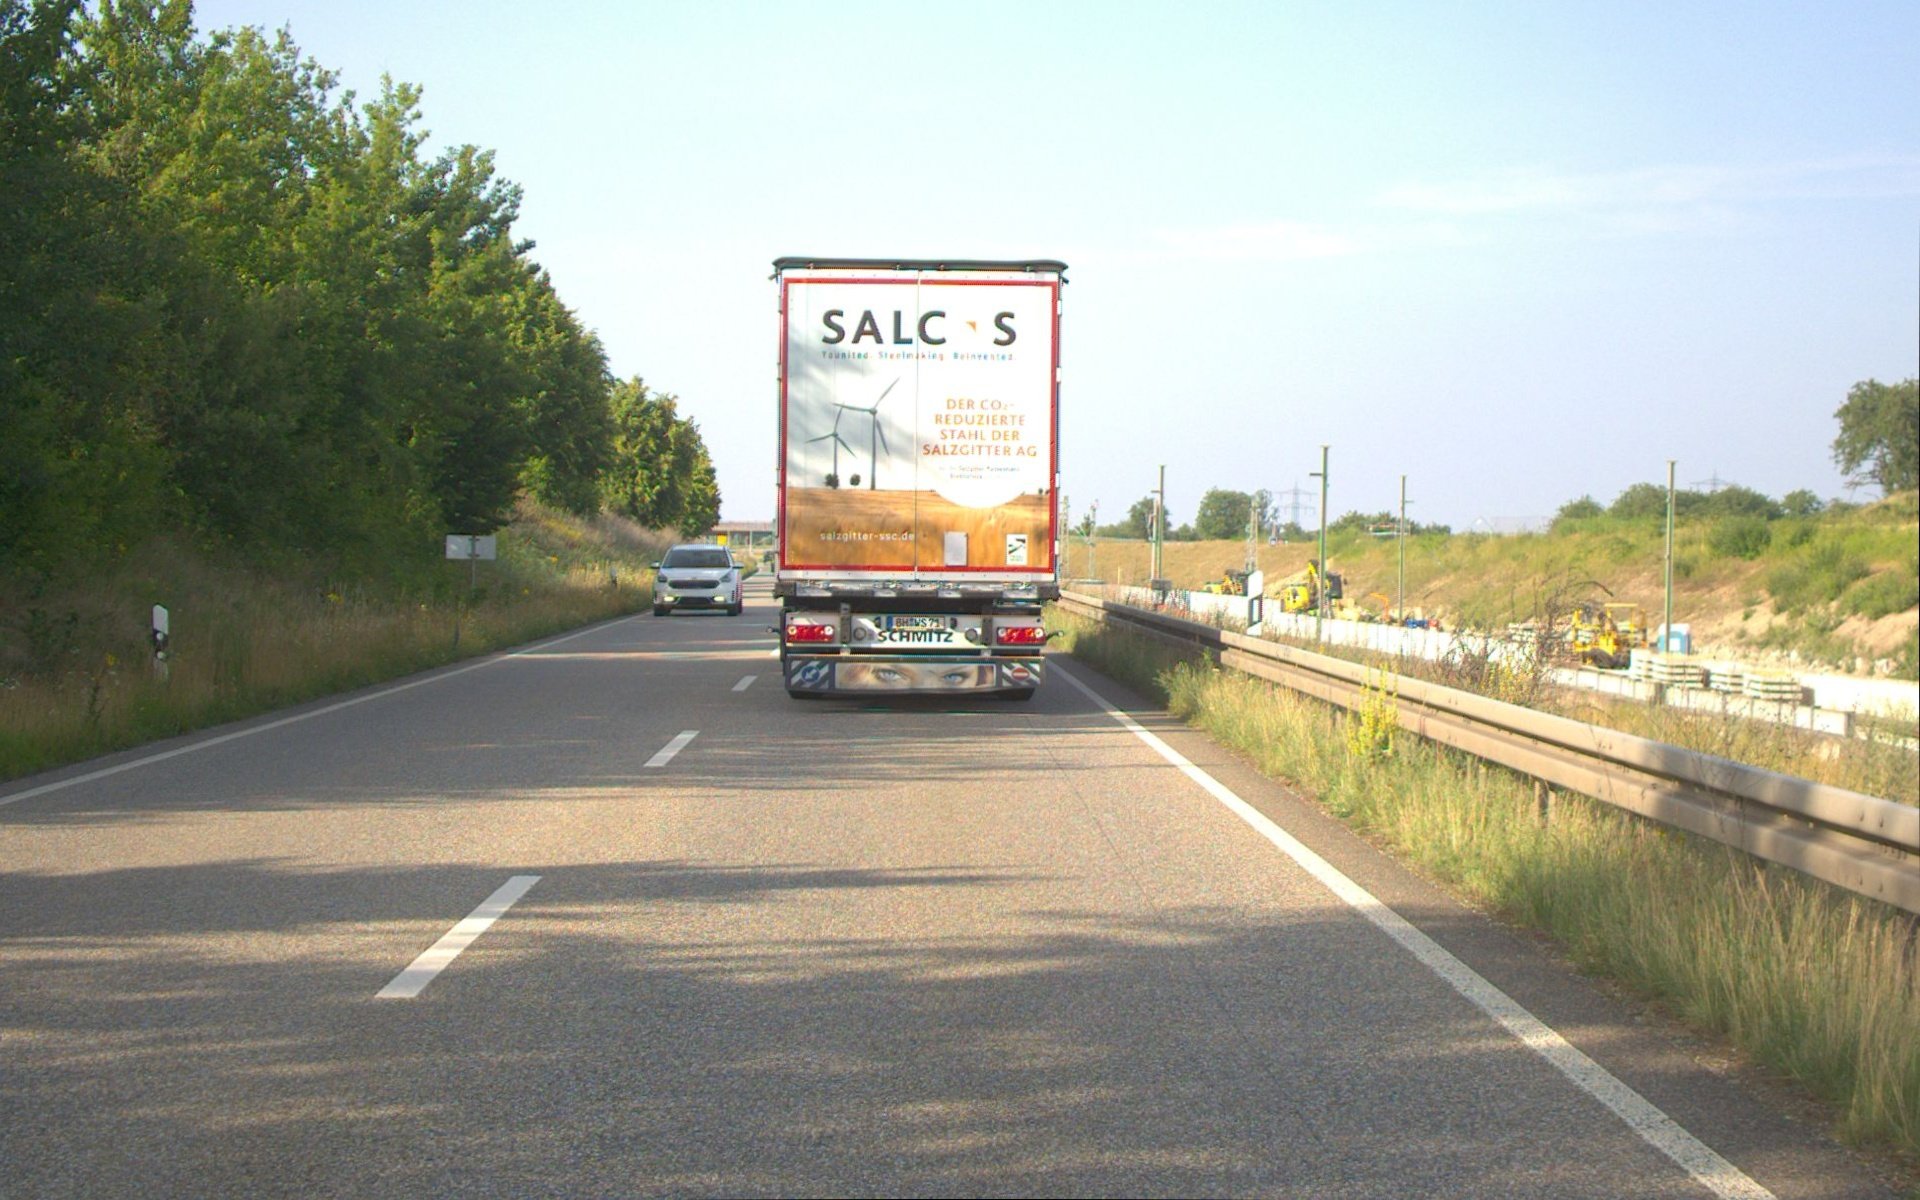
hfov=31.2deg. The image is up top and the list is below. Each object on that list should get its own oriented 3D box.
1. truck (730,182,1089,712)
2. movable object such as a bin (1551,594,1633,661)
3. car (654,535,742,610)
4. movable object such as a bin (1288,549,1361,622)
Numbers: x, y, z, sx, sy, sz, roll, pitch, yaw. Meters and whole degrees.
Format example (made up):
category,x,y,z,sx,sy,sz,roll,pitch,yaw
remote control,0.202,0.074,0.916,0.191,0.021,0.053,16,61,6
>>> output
category,x,y,z,sx,sy,sz,roll,pitch,yaw
truck,-0.561,-1.422,34.701,3.153,4.672,8.442,0,1,-2
movable object such as a bin,26.286,1.126,142.988,2.907,2.652,2.017,1,1,23
car,-5.681,-0.626,74.945,1.744,1.559,4.366,1,1,-2
movable object such as a bin,20.116,-0.845,190.053,2.796,3.872,7.539,1,1,-3
